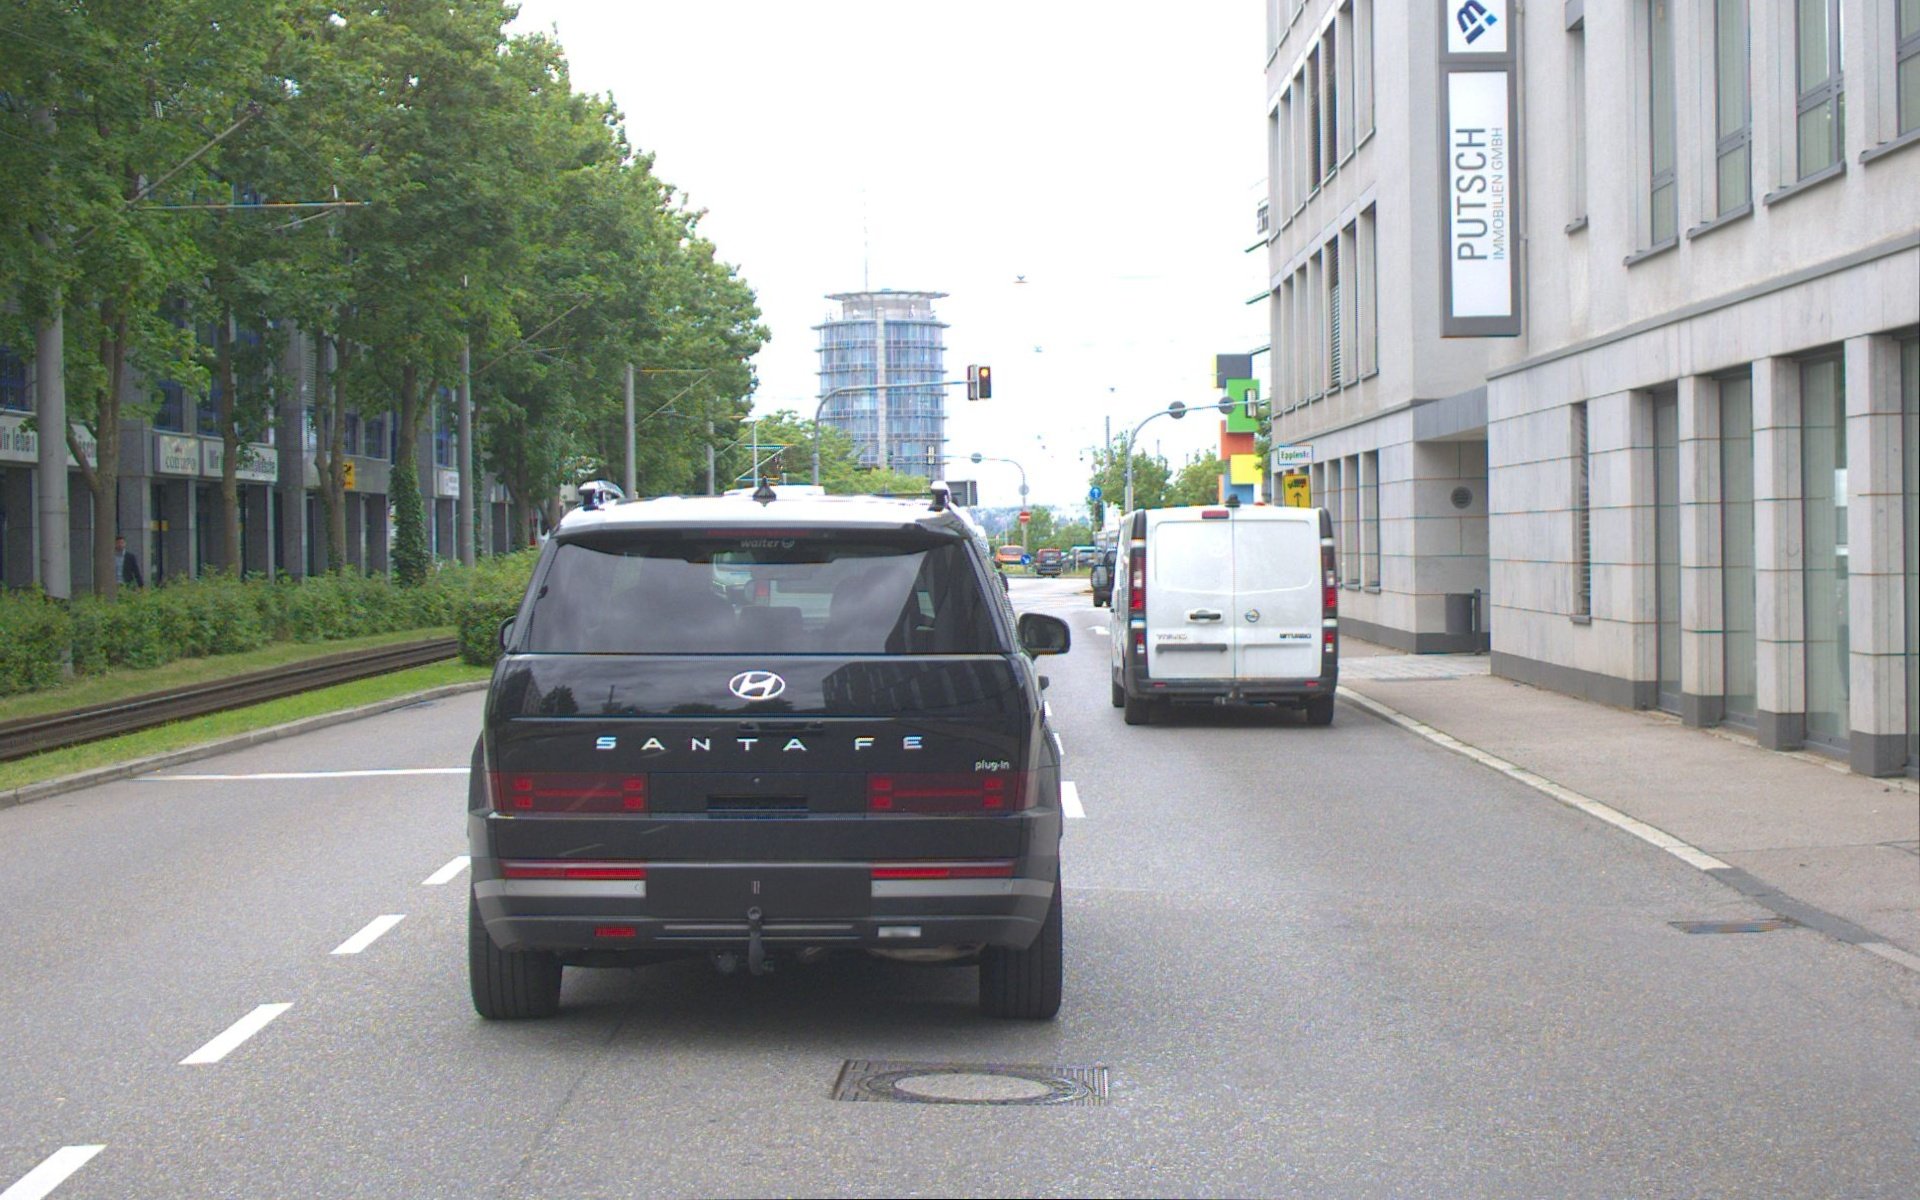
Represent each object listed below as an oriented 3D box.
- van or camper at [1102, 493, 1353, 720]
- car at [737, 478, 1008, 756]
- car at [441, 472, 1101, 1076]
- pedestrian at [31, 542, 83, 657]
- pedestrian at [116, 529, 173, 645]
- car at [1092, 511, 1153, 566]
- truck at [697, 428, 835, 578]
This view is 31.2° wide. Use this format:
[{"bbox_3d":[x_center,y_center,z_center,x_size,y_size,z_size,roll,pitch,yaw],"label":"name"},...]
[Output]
[{"bbox_3d":[2.369,0.001,31.484,1.993,1.909,4.332,-1,1,1],"label":"van or camper"},{"bbox_3d":[-0.755,0.071,27.614,1.931,1.987,4.536,-2,1,-3],"label":"car"},{"bbox_3d":[-0.718,0.469,12.184,1.908,1.743,4.397,0,1,-5],"label":"car"},{"bbox_3d":[-16.124,-0.013,61.418,0.681,2.007,0.571,-2,1,1],"label":"pedestrian"},{"bbox_3d":[-13.660,-0.224,57.597,0.675,1.902,0.622,-3,1,1],"label":"pedestrian"},{"bbox_3d":[5.094,-1.941,107.248,1.759,1.603,4.188,-2,1,4],"label":"car"},{"bbox_3d":[-3.583,-1.807,64.477,2.165,2.606,5.796,-2,1,0],"label":"truck"}]
